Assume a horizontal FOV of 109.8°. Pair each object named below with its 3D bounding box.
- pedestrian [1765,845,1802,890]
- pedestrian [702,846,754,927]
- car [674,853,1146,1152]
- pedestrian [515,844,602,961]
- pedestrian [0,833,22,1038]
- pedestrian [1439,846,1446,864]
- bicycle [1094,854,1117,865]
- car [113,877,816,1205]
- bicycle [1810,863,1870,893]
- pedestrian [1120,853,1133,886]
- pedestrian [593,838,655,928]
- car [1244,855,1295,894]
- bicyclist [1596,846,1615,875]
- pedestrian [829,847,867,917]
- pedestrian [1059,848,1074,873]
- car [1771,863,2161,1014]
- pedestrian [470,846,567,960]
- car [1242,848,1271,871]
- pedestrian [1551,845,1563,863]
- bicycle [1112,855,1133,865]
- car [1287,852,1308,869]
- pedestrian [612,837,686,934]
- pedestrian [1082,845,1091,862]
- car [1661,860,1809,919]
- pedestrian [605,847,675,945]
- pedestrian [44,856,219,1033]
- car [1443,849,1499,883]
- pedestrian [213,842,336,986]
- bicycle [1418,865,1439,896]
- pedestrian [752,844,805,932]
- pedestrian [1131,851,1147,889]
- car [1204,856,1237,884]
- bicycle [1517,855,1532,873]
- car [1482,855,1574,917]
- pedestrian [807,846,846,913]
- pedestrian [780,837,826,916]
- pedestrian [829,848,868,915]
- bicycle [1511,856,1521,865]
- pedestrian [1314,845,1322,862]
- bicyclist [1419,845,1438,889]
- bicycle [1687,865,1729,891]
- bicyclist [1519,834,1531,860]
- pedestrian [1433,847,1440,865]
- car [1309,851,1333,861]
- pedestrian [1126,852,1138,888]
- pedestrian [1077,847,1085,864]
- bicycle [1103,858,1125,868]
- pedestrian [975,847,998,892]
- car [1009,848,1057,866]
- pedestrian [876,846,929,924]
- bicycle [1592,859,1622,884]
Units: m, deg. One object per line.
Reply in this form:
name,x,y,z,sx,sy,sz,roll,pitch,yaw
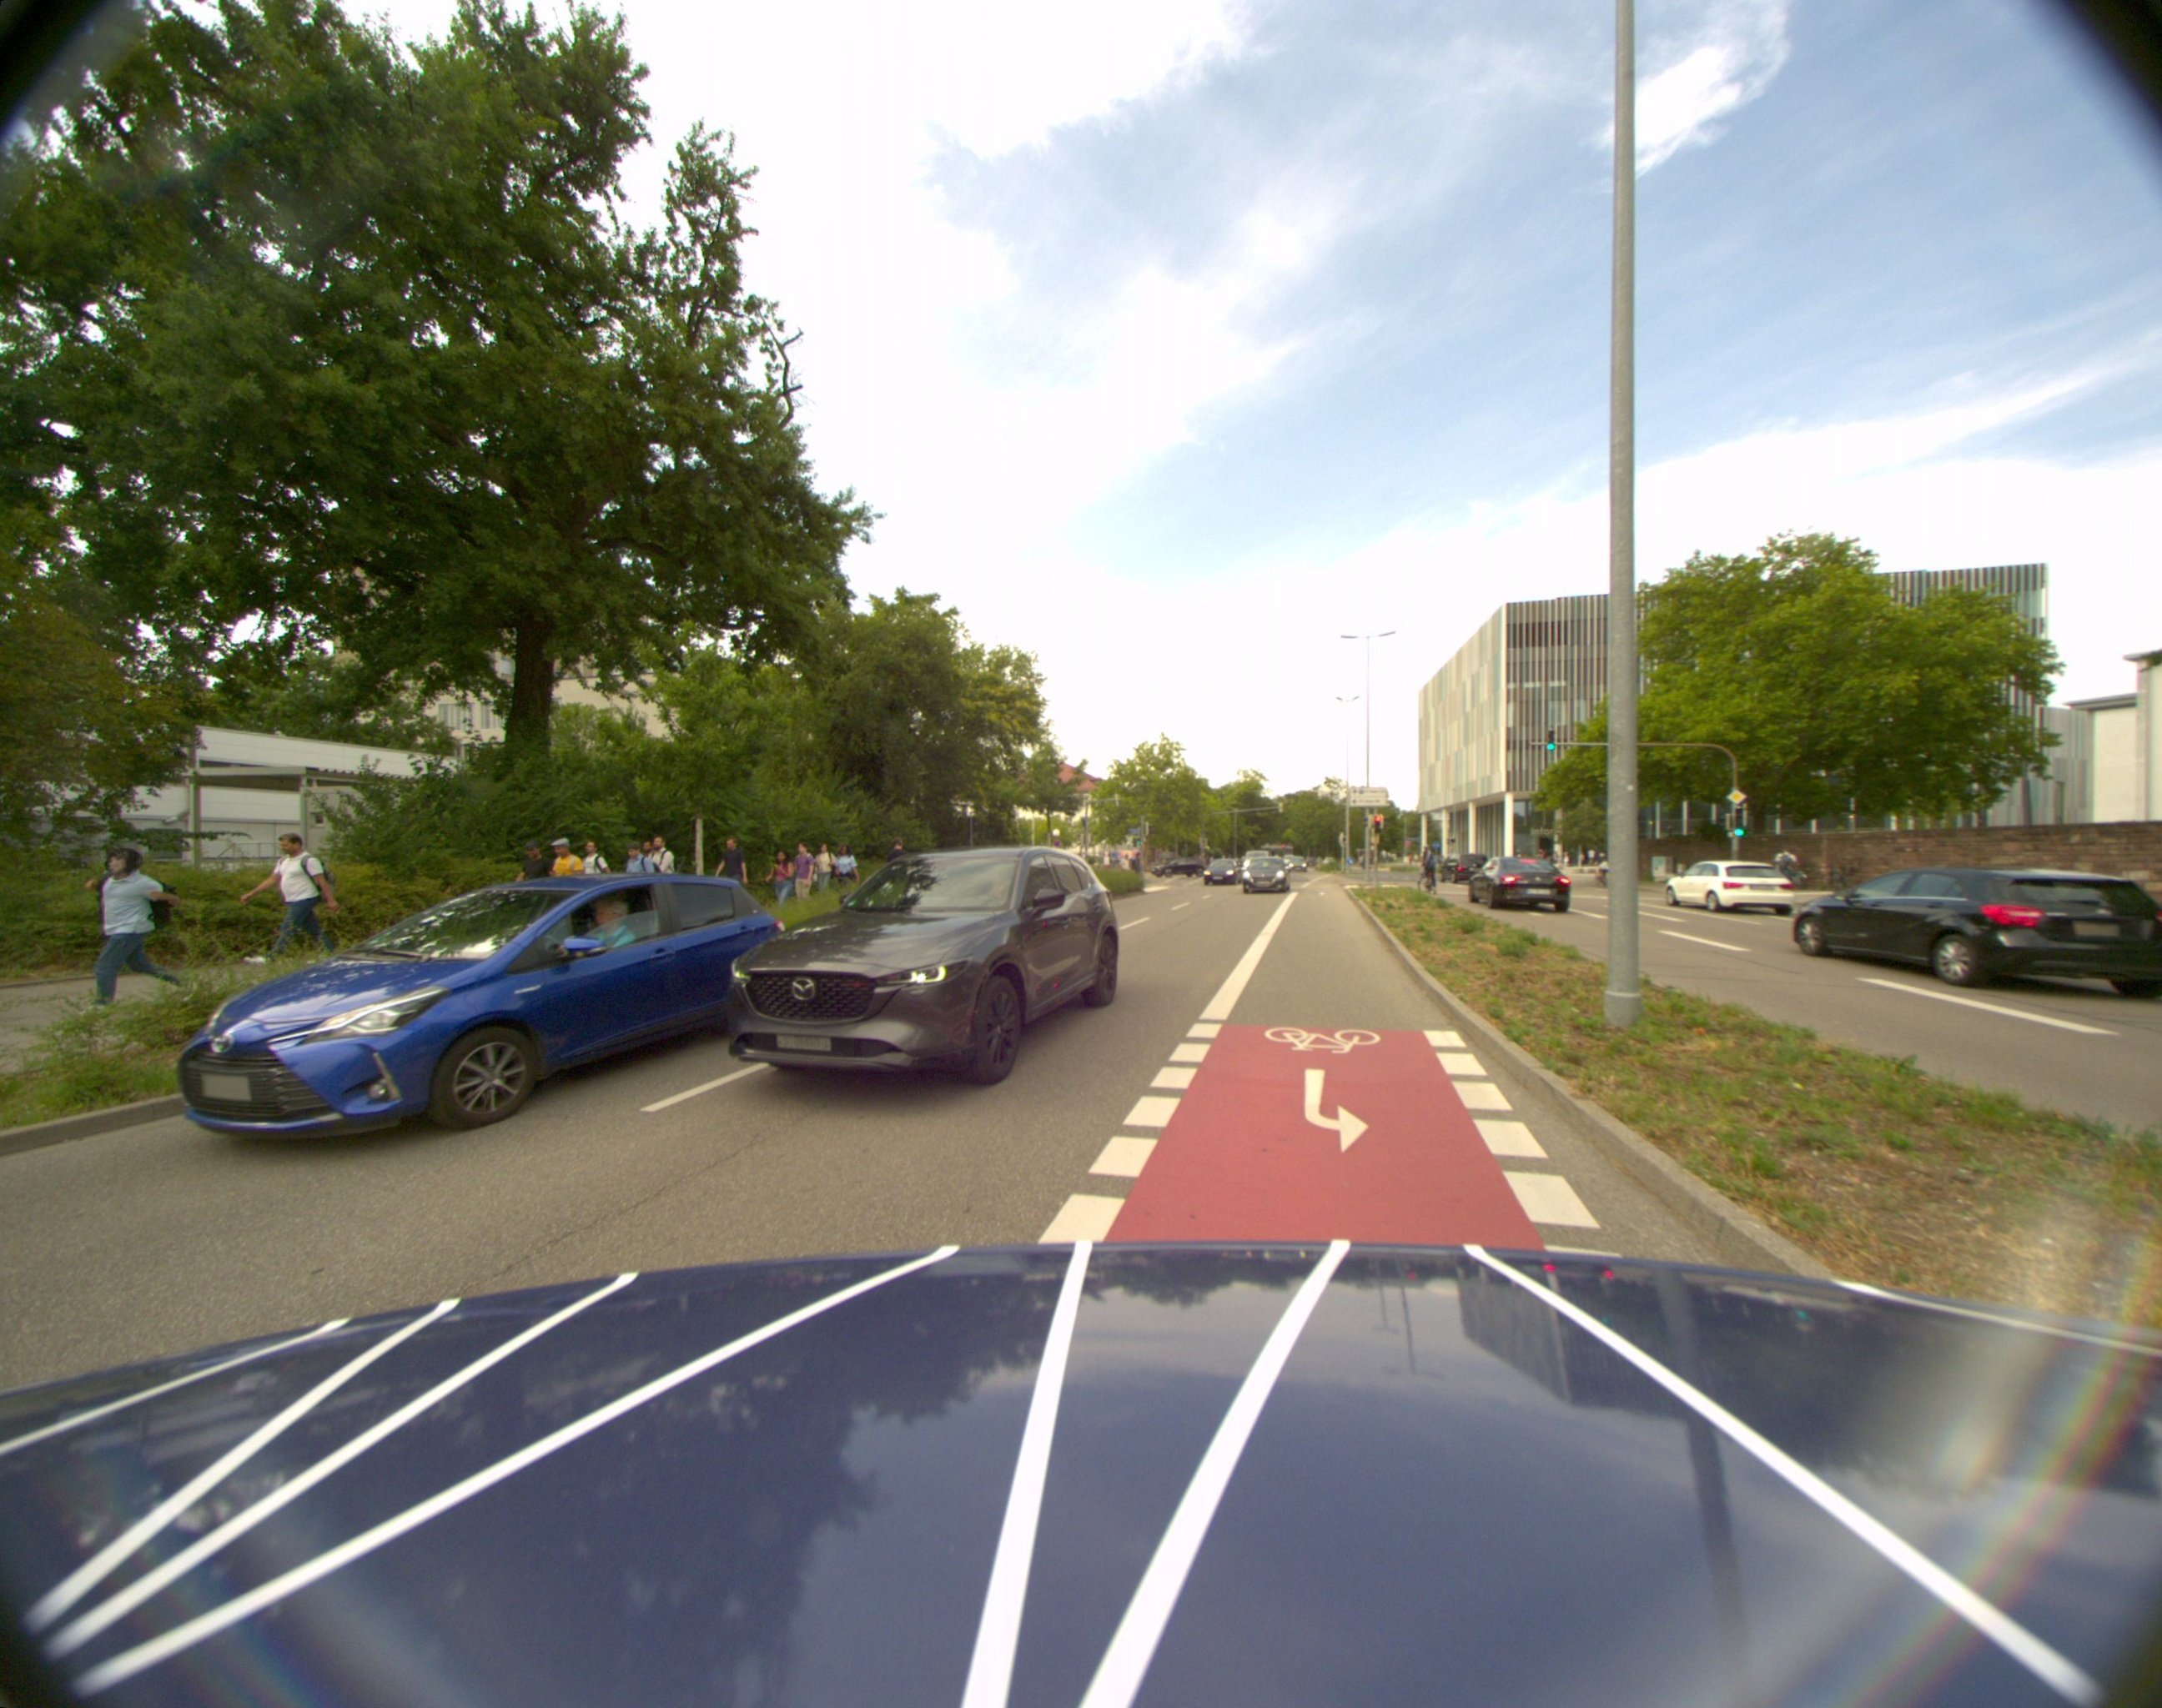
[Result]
pedestrian,28.286,0.530,30.605,0.747,1.772,0.782,-1,2,-18
pedestrian,-7.743,0.698,16.689,0.657,1.735,0.781,0,1,15
car,-0.937,0.863,6.797,1.902,1.639,4.651,-1,0,19
pedestrian,-7.845,0.699,11.433,0.657,1.679,0.843,0,1,15
pedestrian,-9.946,0.724,6.518,0.656,1.811,0.813,0,1,17
pedestrian,36.693,0.125,77.036,0.511,1.826,0.625,0,0,13
bicycle,2.811,0.616,86.041,2.469,1.136,0.718,0,1,15
car,-4.017,0.984,5.824,1.700,1.485,3.837,0,0,19
bicycle,28.406,0.882,28.475,0.549,1.052,1.982,-3,0,11
pedestrian,2.296,0.783,38.440,0.546,1.677,0.637,0,1,15
pedestrian,-8.844,0.543,14.716,0.657,1.689,0.781,0,1,15
car,7.848,0.822,31.430,1.658,1.455,4.006,-2,0,19
bicyclist,26.313,0.316,38.126,0.581,1.411,0.812,0,1,15
pedestrian,-5.831,0.682,19.036,0.582,1.735,0.790,0,1,15
pedestrian,-1.039,0.449,54.285,0.768,1.794,0.893,-1,0,19
car,11.570,0.916,10.167,1.756,1.480,4.383,1,1,18
pedestrian,-8.518,0.706,11.536,0.657,1.657,0.972,0,1,15
car,14.035,0.401,60.603,1.996,1.761,4.005,0,0,17
pedestrian,44.882,-0.004,71.594,0.731,1.730,0.677,-1,1,-20
bicycle,4.934,0.680,90.633,2.469,1.136,0.718,0,1,15
car,20.587,0.596,72.372,1.659,1.455,4.004,-2,0,12
pedestrian,-8.159,0.573,14.388,0.657,1.756,0.959,-3,0,15
pedestrian,0.631,-0.087,86.832,0.687,1.951,0.601,-2,1,-25
car,18.018,0.898,21.169,1.672,1.381,3.927,2,1,18
pedestrian,-7.624,0.692,13.156,0.657,1.638,0.813,0,1,15
pedestrian,-9.172,0.817,7.368,0.776,1.593,0.813,0,1,17
car,20.693,0.610,40.489,1.804,1.656,4.305,2,1,15
pedestrian,-10.175,0.722,9.607,0.722,1.734,0.813,0,1,17
bicycle,12.572,0.930,27.534,0.574,1.049,1.929,0,0,21
pedestrian,-6.150,0.668,15.458,0.657,1.735,0.781,0,1,15
pedestrian,2.622,0.717,34.414,0.602,1.725,0.655,0,1,15
car,7.857,0.878,43.096,1.659,1.455,4.003,-2,0,8
bicycle,31.076,0.662,53.222,0.619,1.210,2.048,0,0,22
car,12.100,0.778,20.809,1.803,1.480,4.413,0,0,26
pedestrian,-6.786,0.664,20.296,0.657,1.735,0.781,0,1,15
pedestrian,-6.214,0.492,17.018,0.625,1.735,0.781,0,1,15
pedestrian,-6.136,0.717,20.055,0.657,1.735,0.781,0,1,15
bicycle,45.751,0.673,79.931,1.601,0.932,0.393,-2,0,-43
pedestrian,25.199,-0.072,80.726,0.726,1.843,1.065,0,1,12
bicyclist,12.547,0.467,27.460,0.572,1.565,0.700,0,1,21
bicycle,29.685,1.112,35.998,0.578,1.119,2.167,-3,0,13
bicyclist,31.043,-0.475,53.133,0.618,1.772,0.812,0,1,22
pedestrian,36.101,0.243,77.161,0.511,1.826,0.773,0,0,13
car,36.329,0.337,115.180,1.807,1.480,4.413,0,0,-5
pedestrian,2.506,0.769,37.001,0.454,1.725,0.637,0,1,15
pedestrian,-0.042,0.194,86.499,0.687,1.951,0.601,-2,1,-25
bicycle,3.876,1.041,89.144,2.469,1.136,0.718,0,1,15
pedestrian,-3.763,0.604,30.285,0.645,1.785,0.741,0,1,15
car,-3.953,0.251,63.037,3.576,1.483,1.676,0,1,14
pedestrian,-4.326,0.714,18.392,0.934,1.820,0.889,1,1,44
bicycle,26.287,0.856,38.013,0.582,1.164,1.966,0,0,14
